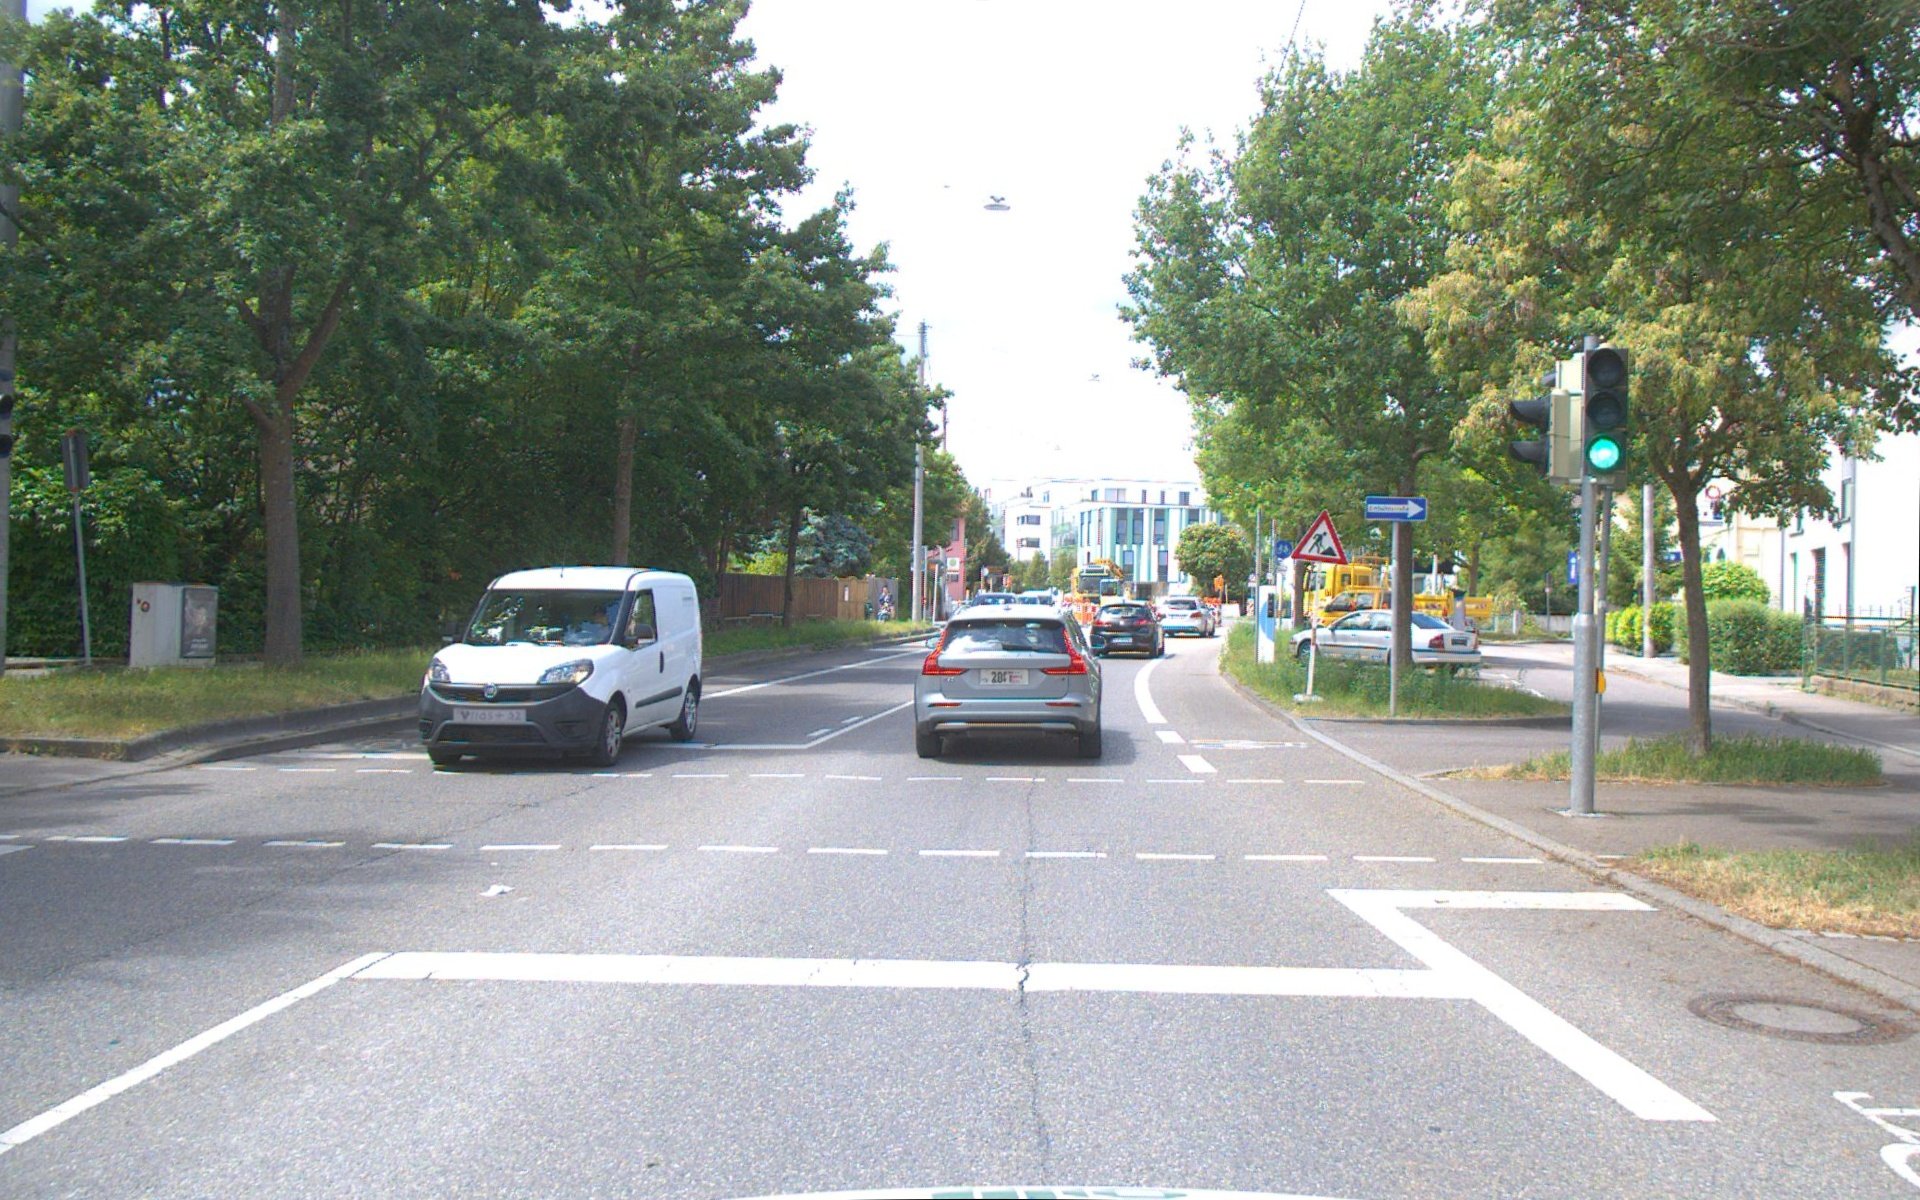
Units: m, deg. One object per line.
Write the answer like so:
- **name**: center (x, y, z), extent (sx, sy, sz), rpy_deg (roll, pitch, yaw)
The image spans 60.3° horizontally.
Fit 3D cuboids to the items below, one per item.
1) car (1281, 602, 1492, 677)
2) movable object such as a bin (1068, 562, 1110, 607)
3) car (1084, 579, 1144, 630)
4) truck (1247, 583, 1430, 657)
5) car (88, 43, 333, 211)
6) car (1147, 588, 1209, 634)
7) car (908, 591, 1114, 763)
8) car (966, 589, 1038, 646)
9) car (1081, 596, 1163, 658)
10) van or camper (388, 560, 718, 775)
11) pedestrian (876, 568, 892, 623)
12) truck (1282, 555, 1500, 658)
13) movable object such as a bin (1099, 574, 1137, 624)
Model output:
- **car**: center (9.760, 0.879, 38.162), extent (1.749, 1.477, 4.629), rpy_deg (2, 0, -36)
- **movable object such as a bin**: center (9.038, -1.092, 116.127), extent (2.264, 3.042, 6.425), rpy_deg (1, 0, -2)
- **car**: center (6.835, 0.234, 73.111), extent (1.951, 2.049, 4.003), rpy_deg (3, -1, 14)
- **truck**: center (12.060, 0.616, 53.074), extent (1.982, 2.049, 5.594), rpy_deg (4, -1, -41)
- **car**: center (-11.901, -7.505, 26.591), extent (1.790, 1.353, 4.001), rpy_deg (3, -2, 5)
- **car**: center (8.116, 0.432, 61.867), extent (2.058, 1.536, 4.002), rpy_deg (4, -1, 6)
- **car**: center (0.613, 0.723, 17.254), extent (1.887, 1.567, 4.002), rpy_deg (-1, 0, 4)
- **car**: center (1.359, 0.540, 51.833), extent (1.840, 1.717, 4.250), rpy_deg (0, 0, 7)
- **car**: center (4.174, 0.699, 43.088), extent (1.628, 1.534, 3.700), rpy_deg (-1, -1, -2)
- **van or camper**: center (-3.796, 0.564, 16.289), extent (1.821, 1.807, 4.383), rpy_deg (1, 0, 5)
- **pedestrian**: center (-2.886, -0.178, 62.750), extent (0.393, 2.049, 0.415), rpy_deg (3, -1, 9)
- **truck**: center (14.213, 0.173, 54.951), extent (2.743, 3.060, 6.614), rpy_deg (4, -1, -39)
- **movable object such as a bin**: center (8.918, -0.074, 92.995), extent (1.991, 2.689, 5.944), rpy_deg (1, 0, 6)
